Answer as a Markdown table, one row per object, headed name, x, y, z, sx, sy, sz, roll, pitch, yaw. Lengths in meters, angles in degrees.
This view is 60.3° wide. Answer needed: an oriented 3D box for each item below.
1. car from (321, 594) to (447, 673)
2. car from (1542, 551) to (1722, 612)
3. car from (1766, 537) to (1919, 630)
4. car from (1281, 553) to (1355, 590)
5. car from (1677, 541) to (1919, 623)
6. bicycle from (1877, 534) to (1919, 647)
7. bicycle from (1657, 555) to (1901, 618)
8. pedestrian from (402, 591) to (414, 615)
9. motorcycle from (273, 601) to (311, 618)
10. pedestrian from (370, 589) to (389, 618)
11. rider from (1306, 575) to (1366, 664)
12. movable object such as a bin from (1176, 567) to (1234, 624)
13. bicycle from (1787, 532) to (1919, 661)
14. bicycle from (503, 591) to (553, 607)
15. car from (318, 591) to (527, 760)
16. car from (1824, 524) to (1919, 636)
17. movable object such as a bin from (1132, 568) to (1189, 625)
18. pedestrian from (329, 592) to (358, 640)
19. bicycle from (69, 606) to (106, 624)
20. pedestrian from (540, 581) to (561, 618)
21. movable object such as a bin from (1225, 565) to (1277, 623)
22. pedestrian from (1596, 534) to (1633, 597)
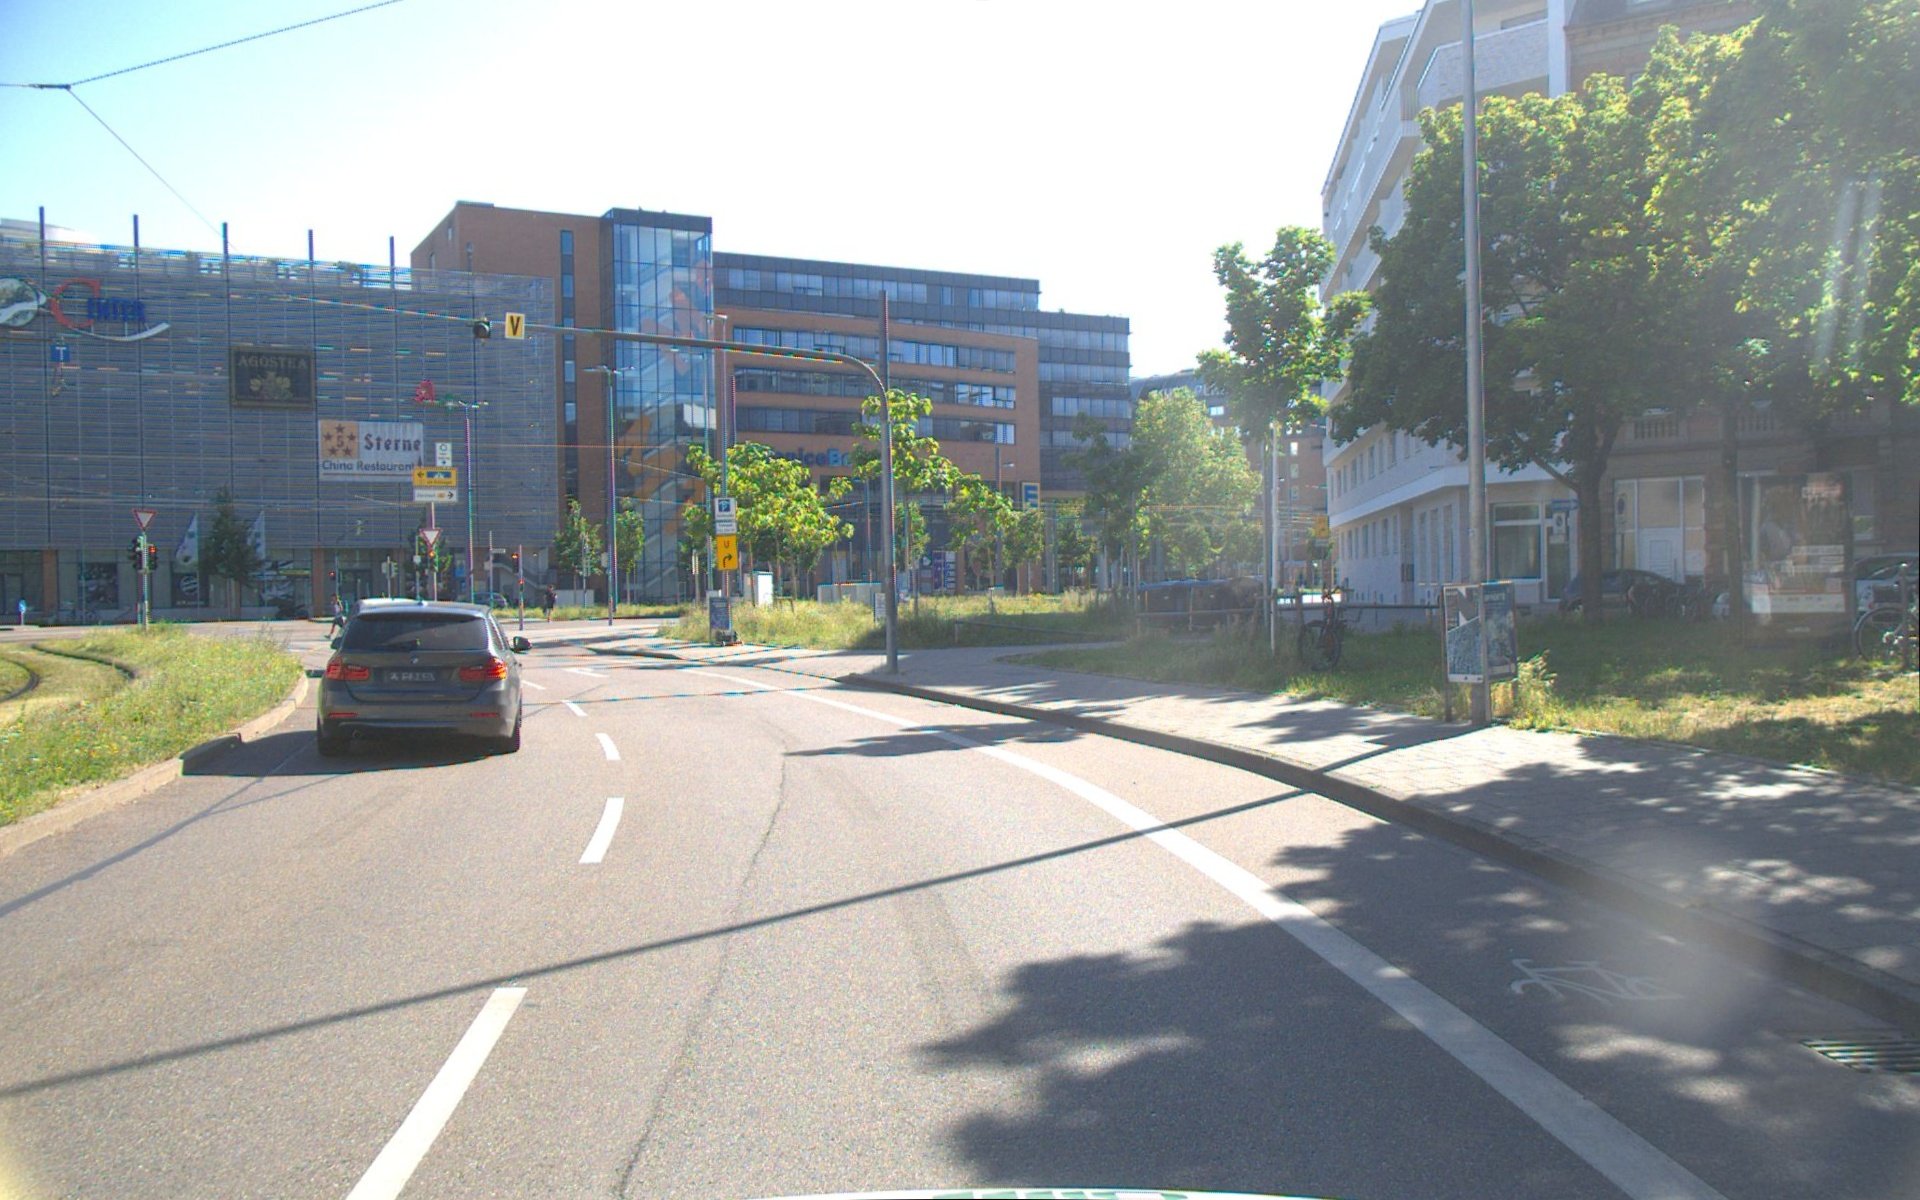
| name | x | y | z | sx | sy | sz | roll | pitch | yaw |
| --- | --- | --- | --- | --- | --- | --- | --- | --- | --- |
| car | -11.383 | 0.649 | 32.563 | 1.615 | 1.448 | 3.743 | 2 | -1 | -31 |
| car | 17.556 | -0.471 | 43.227 | 4.023 | 1.461 | 1.994 | -1 | 0 | 35 |
| car | 15.696 | -0.309 | 27.651 | 3.768 | 1.466 | 1.753 | -2 | 1 | -15 |
| car | 21.030 | -1.674 | 97.091 | 3.906 | 2.049 | 2.000 | -1 | 0 | 23 |
| car | 15.336 | -0.337 | 30.080 | 3.978 | 1.360 | 1.831 | -2 | 1 | -16 |
| bicycle | 13.079 | -0.146 | 21.357 | 2.052 | 1.423 | 0.787 | -1 | 0 | -4 |
| bicycle | 16.747 | -0.284 | 34.209 | 2.619 | 1.146 | 5.224 | -1 | 1 | 2 |
| pedestrian | -36.911 | 0.183 | 110.599 | 0.583 | 1.561 | 0.651 | -1 | 0 | -31 |
| motorcycle | -44.041 | 0.598 | 109.020 | 2.180 | 1.061 | 1.050 | -1 | 1 | -31 |
| pedestrian | -35.639 | 0.214 | 101.544 | 0.847 | 1.768 | 0.744 | -2 | 0 | -37 |
| rider | 5.416 | 0.268 | 23.794 | 0.491 | 1.196 | 1.675 | -1 | 2 | 24 |
| movable object such as a bin | 6.351 | -0.112 | 42.791 | 1.086 | 1.423 | 1.319 | -1 | 1 | 27 |
| bicycle | 10.490 | -0.053 | 18.509 | 2.050 | 1.388 | 0.787 | -1 | 0 | 2 |
| bicycle | -30.753 | -0.107 | 117.666 | 3.318 | 1.096 | 1.108 | -1 | 1 | -25 |
| car | -5.305 | 0.685 | 16.552 | 1.706 | 1.448 | 4.446 | 1 | -1 | -17 |
| car | 15.413 | -0.353 | 24.953 | 4.398 | 1.593 | 1.923 | -2 | 1 | -24 |
| movable object such as a bin | 5.203 | -0.092 | 42.843 | 1.048 | 1.423 | 1.302 | -1 | 1 | 27 |
| pedestrian | -22.753 | 0.586 | 61.038 | 0.877 | 1.737 | 0.705 | -1 | 0 | -31 |
| bicycle | -54.419 | 0.940 | 103.158 | 2.006 | 1.078 | 1.133 | -2 | 1 | -32 |
| pedestrian | -19.656 | -0.009 | 79.418 | 0.798 | 1.738 | 0.754 | -1 | 0 | -31 |
| movable object such as a bin | 7.477 | -0.157 | 42.444 | 1.009 | 1.423 | 1.089 | -1 | 1 | 27 |
| pedestrian | 16.883 | -0.880 | 42.662 | 0.632 | 1.604 | 0.766 | -1 | 0 | 45 |
